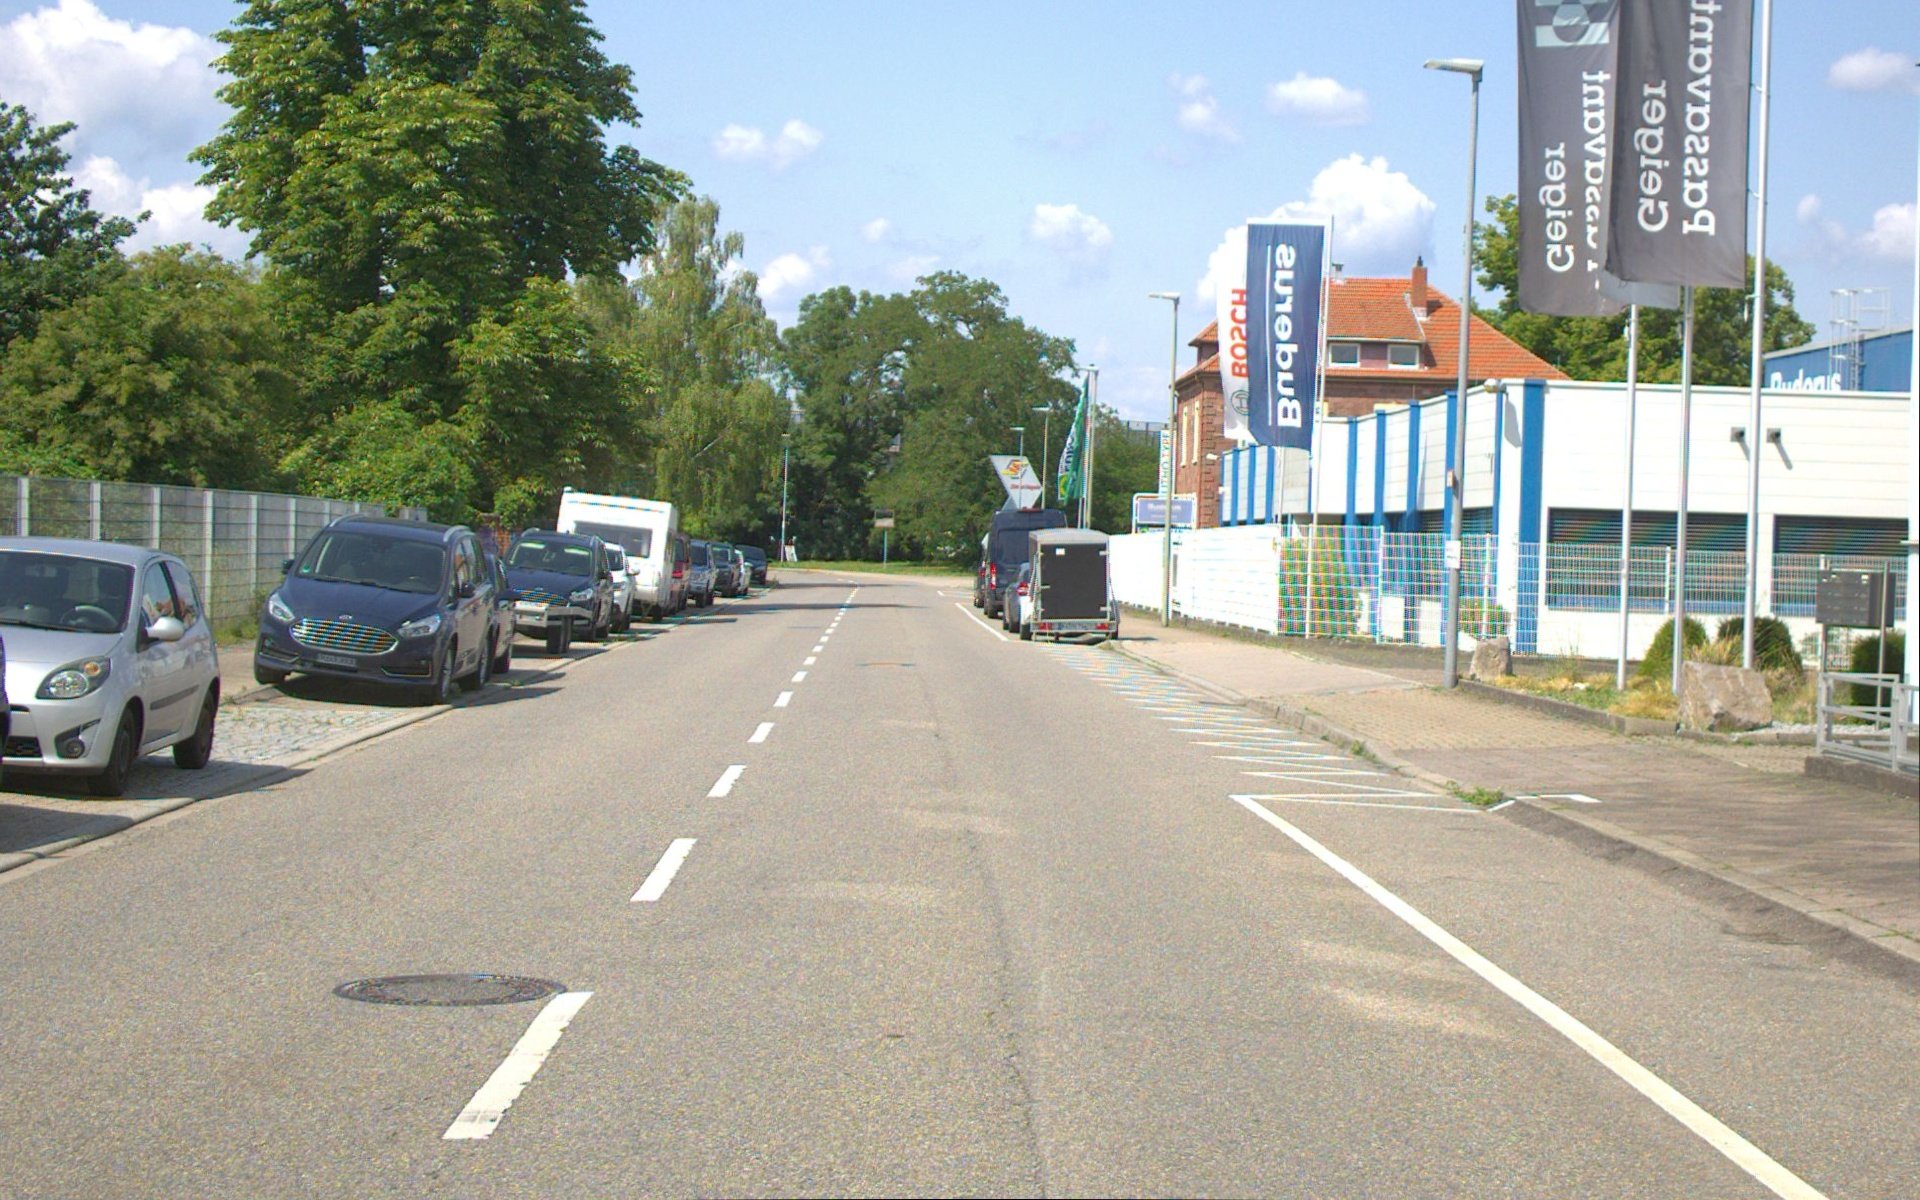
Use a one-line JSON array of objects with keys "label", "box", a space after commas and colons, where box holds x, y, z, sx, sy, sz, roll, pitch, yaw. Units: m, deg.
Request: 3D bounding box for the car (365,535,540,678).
[{"label": "car", "box": [-5.876, 0.042, 40.189, 1.577, 1.507, 4.202, 3, 1, -3]}]

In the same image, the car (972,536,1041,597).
[{"label": "car", "box": [1.301, -0.983, 98.621, 1.825, 1.659, 4.556, 1, 1, -1]}]

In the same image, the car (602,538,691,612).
[{"label": "car", "box": [-7.231, -0.600, 79.672, 1.625, 1.527, 4.269, 5, 1, -1]}]

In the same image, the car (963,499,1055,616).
[{"label": "car", "box": [1.191, -1.121, 86.457, 1.937, 2.739, 6.155, -3, 2, -1]}]

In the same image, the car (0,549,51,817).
[{"label": "car", "box": [-5.817, 0.396, 16.790, 1.569, 1.394, 3.799, 7, 1, 1]}]

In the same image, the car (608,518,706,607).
[{"label": "car", "box": [-7.537, -0.936, 85.963, 1.898, 1.948, 4.958, 7, 0, -1]}]

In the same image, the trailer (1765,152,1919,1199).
[{"label": "trailer", "box": [3.176, 0.241, 7.151, 1.869, 2.544, 5.071, 2, 1, 2]}]

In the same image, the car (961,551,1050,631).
[{"label": "car", "box": [0.878, -0.197, 68.943, 1.572, 1.502, 4.133, 2, 1, -2]}]

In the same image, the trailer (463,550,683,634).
[{"label": "trailer", "box": [-5.444, -0.147, 49.371, 2.271, 0.880, 7.132, 6, 1, 0]}]

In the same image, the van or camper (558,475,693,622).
[{"label": "van or camper", "box": [-7.066, -1.098, 73.295, 2.262, 2.794, 6.834, 6, 1, -3]}]

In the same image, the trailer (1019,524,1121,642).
[{"label": "trailer", "box": [1.989, -0.325, 62.680, 1.601, 2.030, 2.741, 3, 1, -2]}]

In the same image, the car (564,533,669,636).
[{"label": "car", "box": [-6.378, -0.325, 64.129, 1.683, 1.686, 4.446, 6, 1, -4]}]

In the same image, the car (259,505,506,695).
[{"label": "car", "box": [-5.769, -0.038, 34.858, 1.801, 1.744, 4.713, 2, 1, -2]}]

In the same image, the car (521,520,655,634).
[{"label": "car", "box": [-6.203, -0.411, 57.721, 1.827, 1.787, 4.736, 2, 1, -2]}]

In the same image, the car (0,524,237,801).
[{"label": "car", "box": [-5.712, 0.316, 21.406, 1.615, 1.478, 3.710, 4, 1, -1]}]
